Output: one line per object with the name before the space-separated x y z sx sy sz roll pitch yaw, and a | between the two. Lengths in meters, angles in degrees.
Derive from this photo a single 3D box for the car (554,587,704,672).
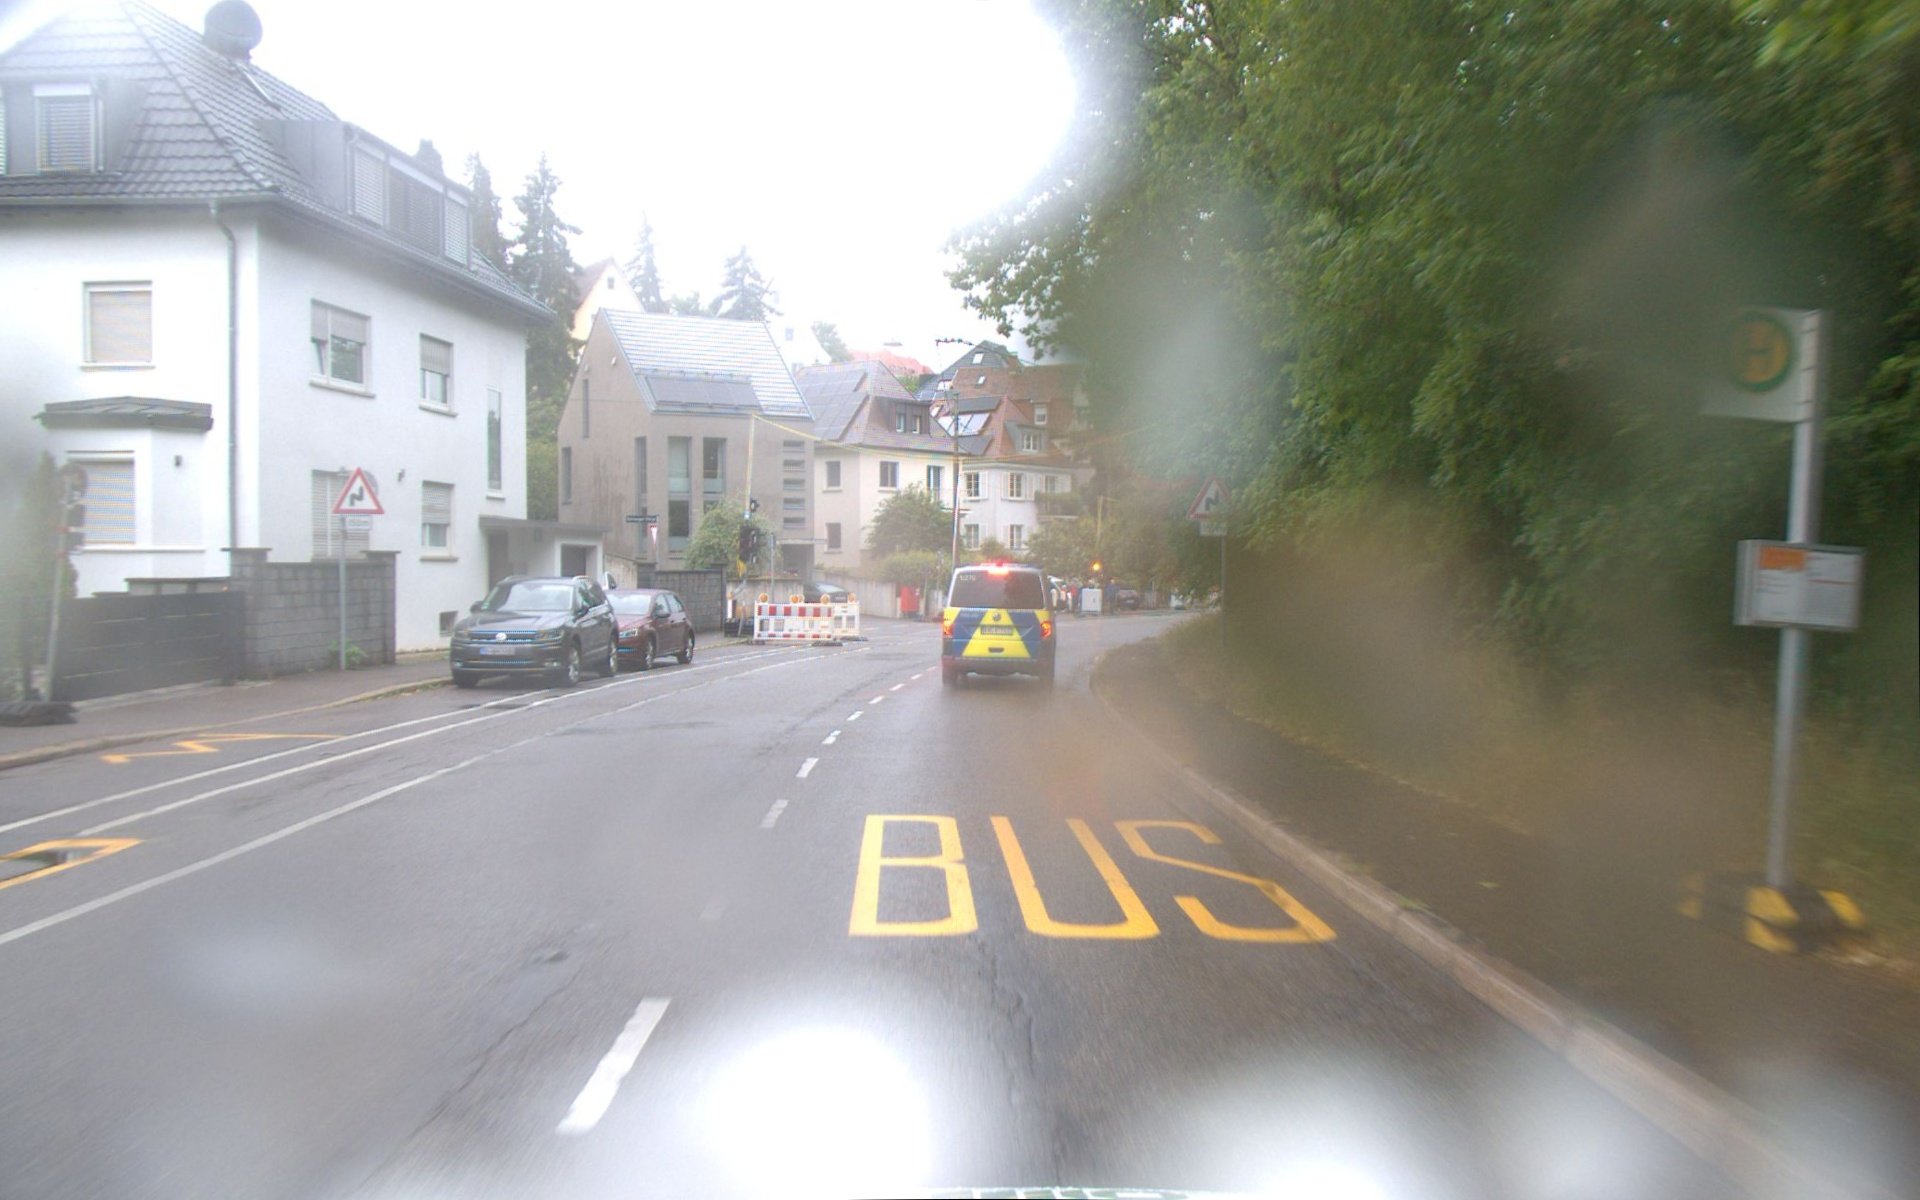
car | -6.225 0.500 31.541 1.582 1.465 4.233 1 1 6

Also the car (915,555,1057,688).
car | 0.357 0.295 28.196 1.955 2.049 4.397 -1 1 -5

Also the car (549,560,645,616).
car | -10.060 -0.332 46.092 1.739 1.489 3.618 0 0 3

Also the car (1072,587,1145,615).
car | 8.945 0.060 99.666 3.912 1.512 1.757 2 -1 29

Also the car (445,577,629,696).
car | -6.558 0.499 26.129 1.718 1.687 4.405 -1 1 0

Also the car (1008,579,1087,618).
car | 4.824 -0.068 90.911 3.912 2.049 1.827 1 0 30

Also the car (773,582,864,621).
car | -5.800 0.043 67.460 1.821 1.469 3.944 0 1 -39
